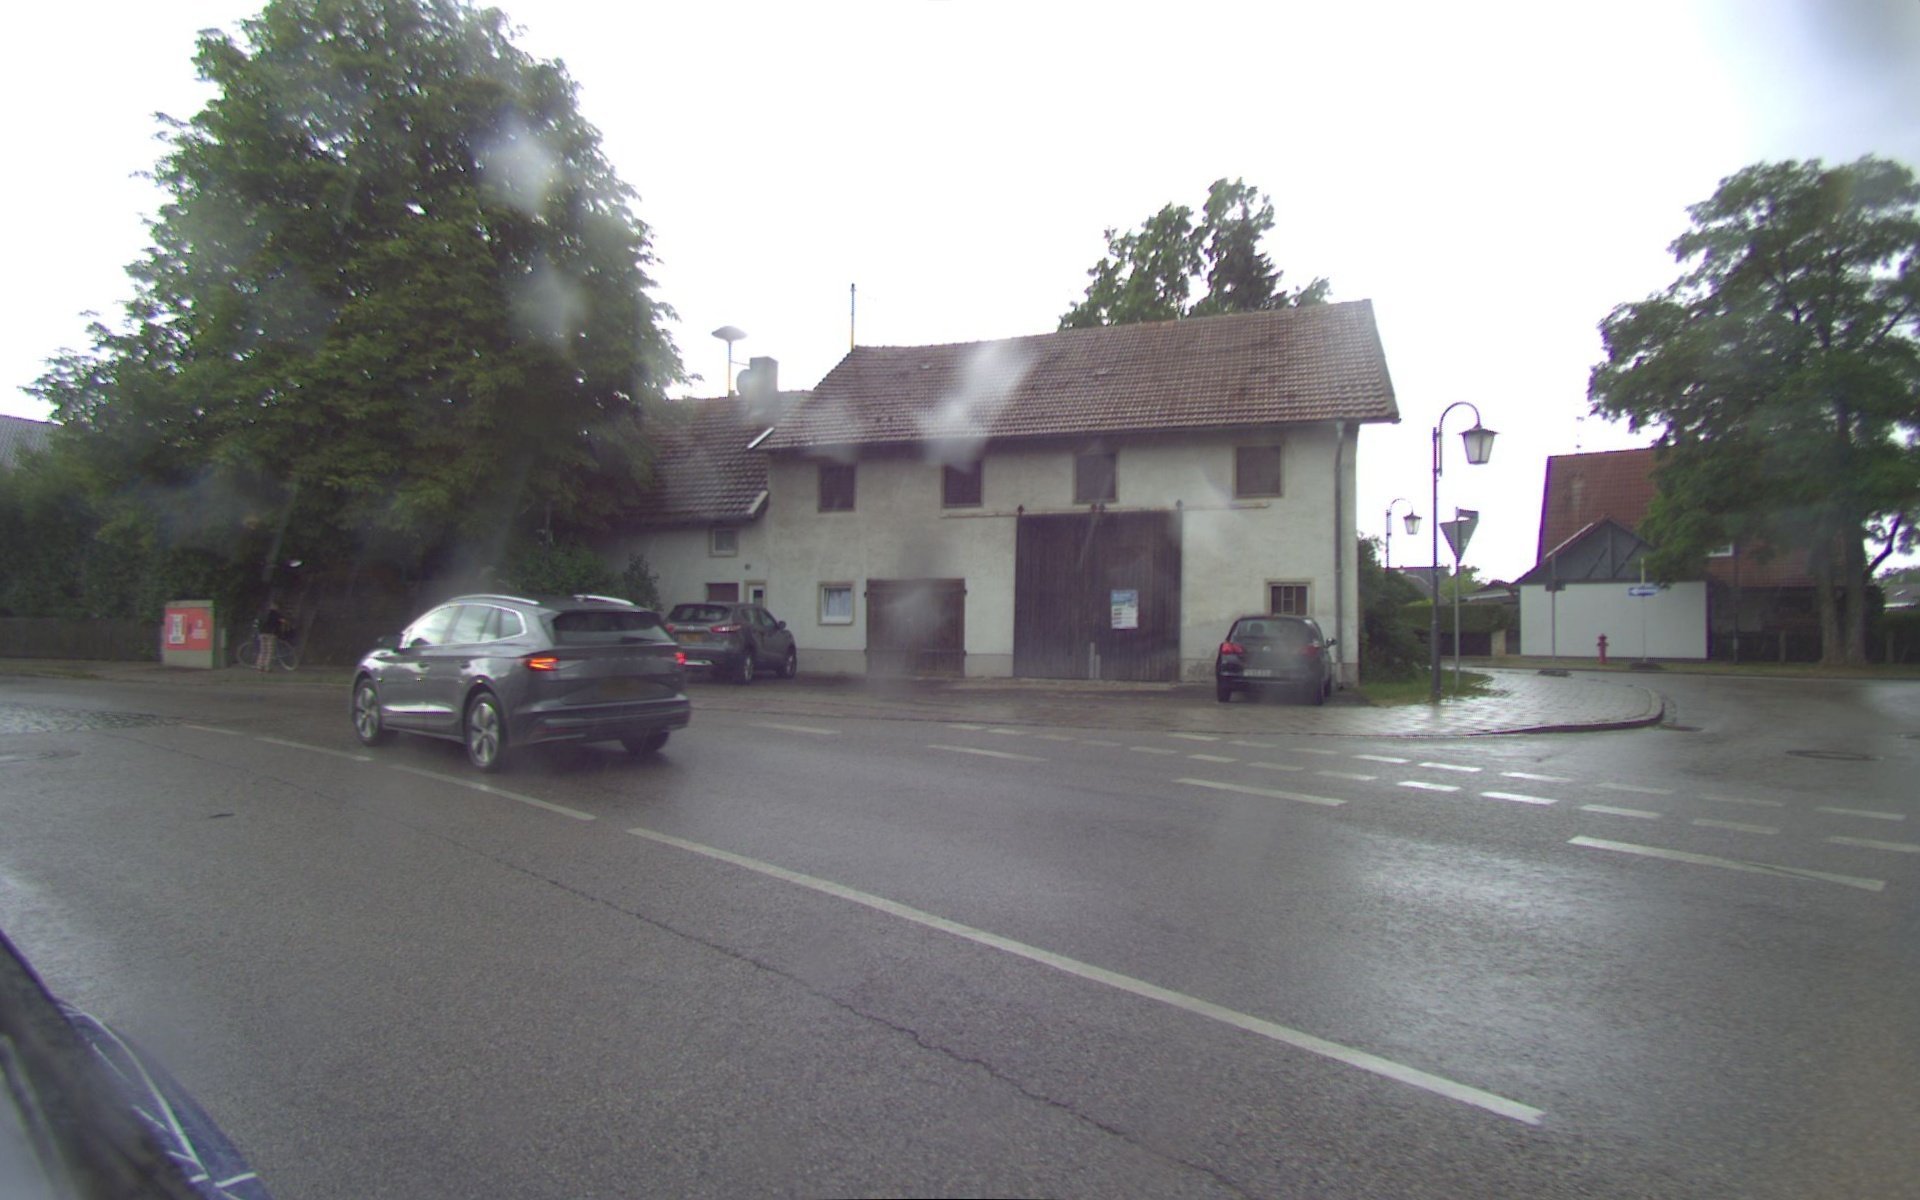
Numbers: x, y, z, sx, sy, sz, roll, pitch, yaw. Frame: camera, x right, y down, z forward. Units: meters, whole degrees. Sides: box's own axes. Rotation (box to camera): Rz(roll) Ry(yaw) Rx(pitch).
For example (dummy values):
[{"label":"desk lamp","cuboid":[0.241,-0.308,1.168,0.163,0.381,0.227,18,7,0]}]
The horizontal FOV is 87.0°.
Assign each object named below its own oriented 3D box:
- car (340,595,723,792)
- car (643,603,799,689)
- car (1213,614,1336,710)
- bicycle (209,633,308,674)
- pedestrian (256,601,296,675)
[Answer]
[{"label":"car","cuboid":[-4.518,0.798,10.391,4.189,1.607,1.973,-1,-1,41]},{"label":"car","cuboid":[-4.726,0.947,20.664,1.795,1.560,4.273,0,-3,6]},{"label":"car","cuboid":[5.566,0.976,17.610,1.807,1.447,4.251,0,-1,21]},{"label":"bicycle","cuboid":[-16.086,1.223,23.224,1.850,0.909,0.663,0,-1,5]},{"label":"pedestrian","cuboid":[-15.261,0.839,22.583,0.642,1.640,0.480,0,-1,-25]}]
